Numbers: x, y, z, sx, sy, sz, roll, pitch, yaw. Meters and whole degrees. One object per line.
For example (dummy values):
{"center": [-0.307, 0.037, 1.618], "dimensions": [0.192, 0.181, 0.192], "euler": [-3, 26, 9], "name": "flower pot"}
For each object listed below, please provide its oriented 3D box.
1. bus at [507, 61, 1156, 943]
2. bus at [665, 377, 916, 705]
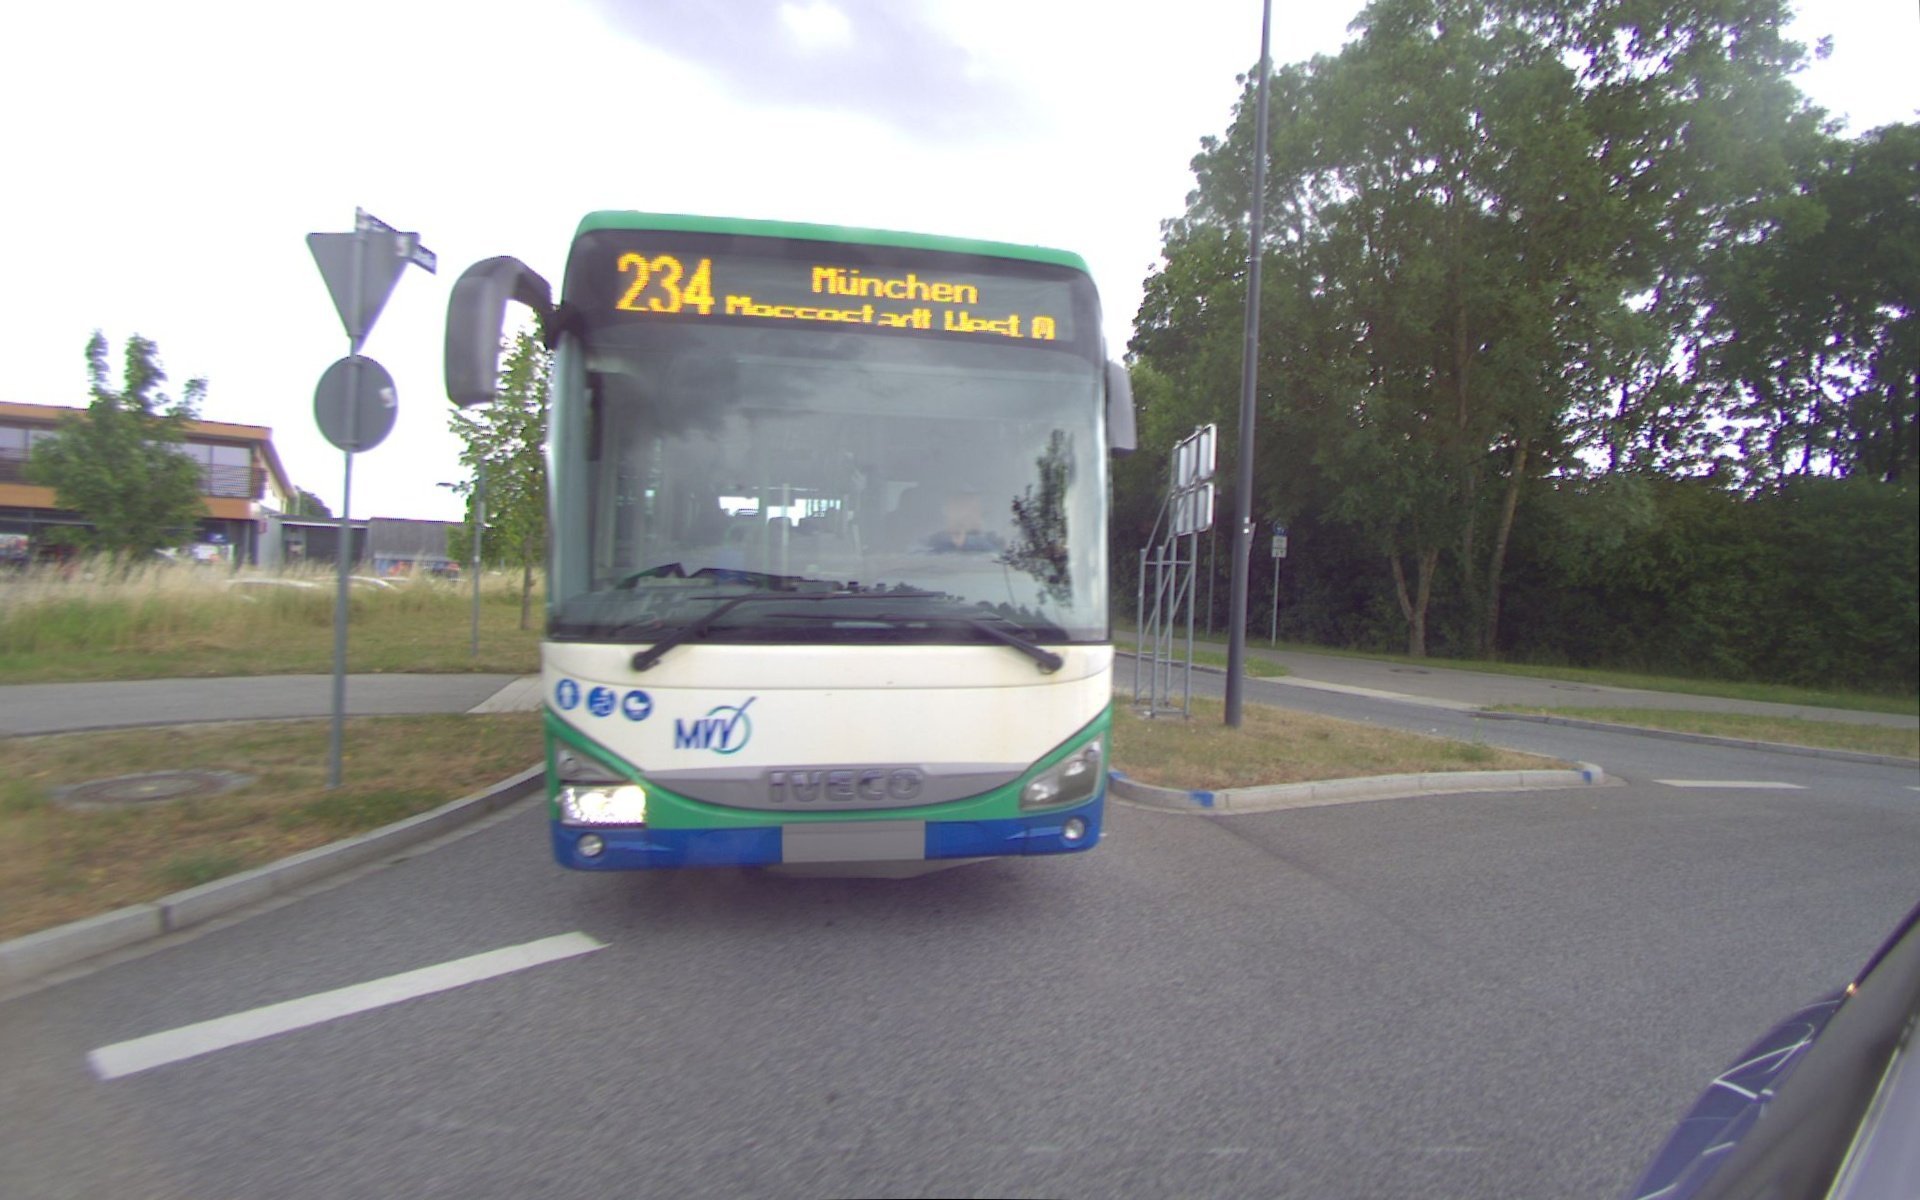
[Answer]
{"center": [-1.099, -0.449, 7.243], "dimensions": [2.472, 3.298, 6.563], "euler": [2, 2, -12], "name": "bus"}
{"center": [-2.271, -0.678, 13.160], "dimensions": [2.472, 3.298, 5.473], "euler": [2, 2, -12], "name": "bus"}
